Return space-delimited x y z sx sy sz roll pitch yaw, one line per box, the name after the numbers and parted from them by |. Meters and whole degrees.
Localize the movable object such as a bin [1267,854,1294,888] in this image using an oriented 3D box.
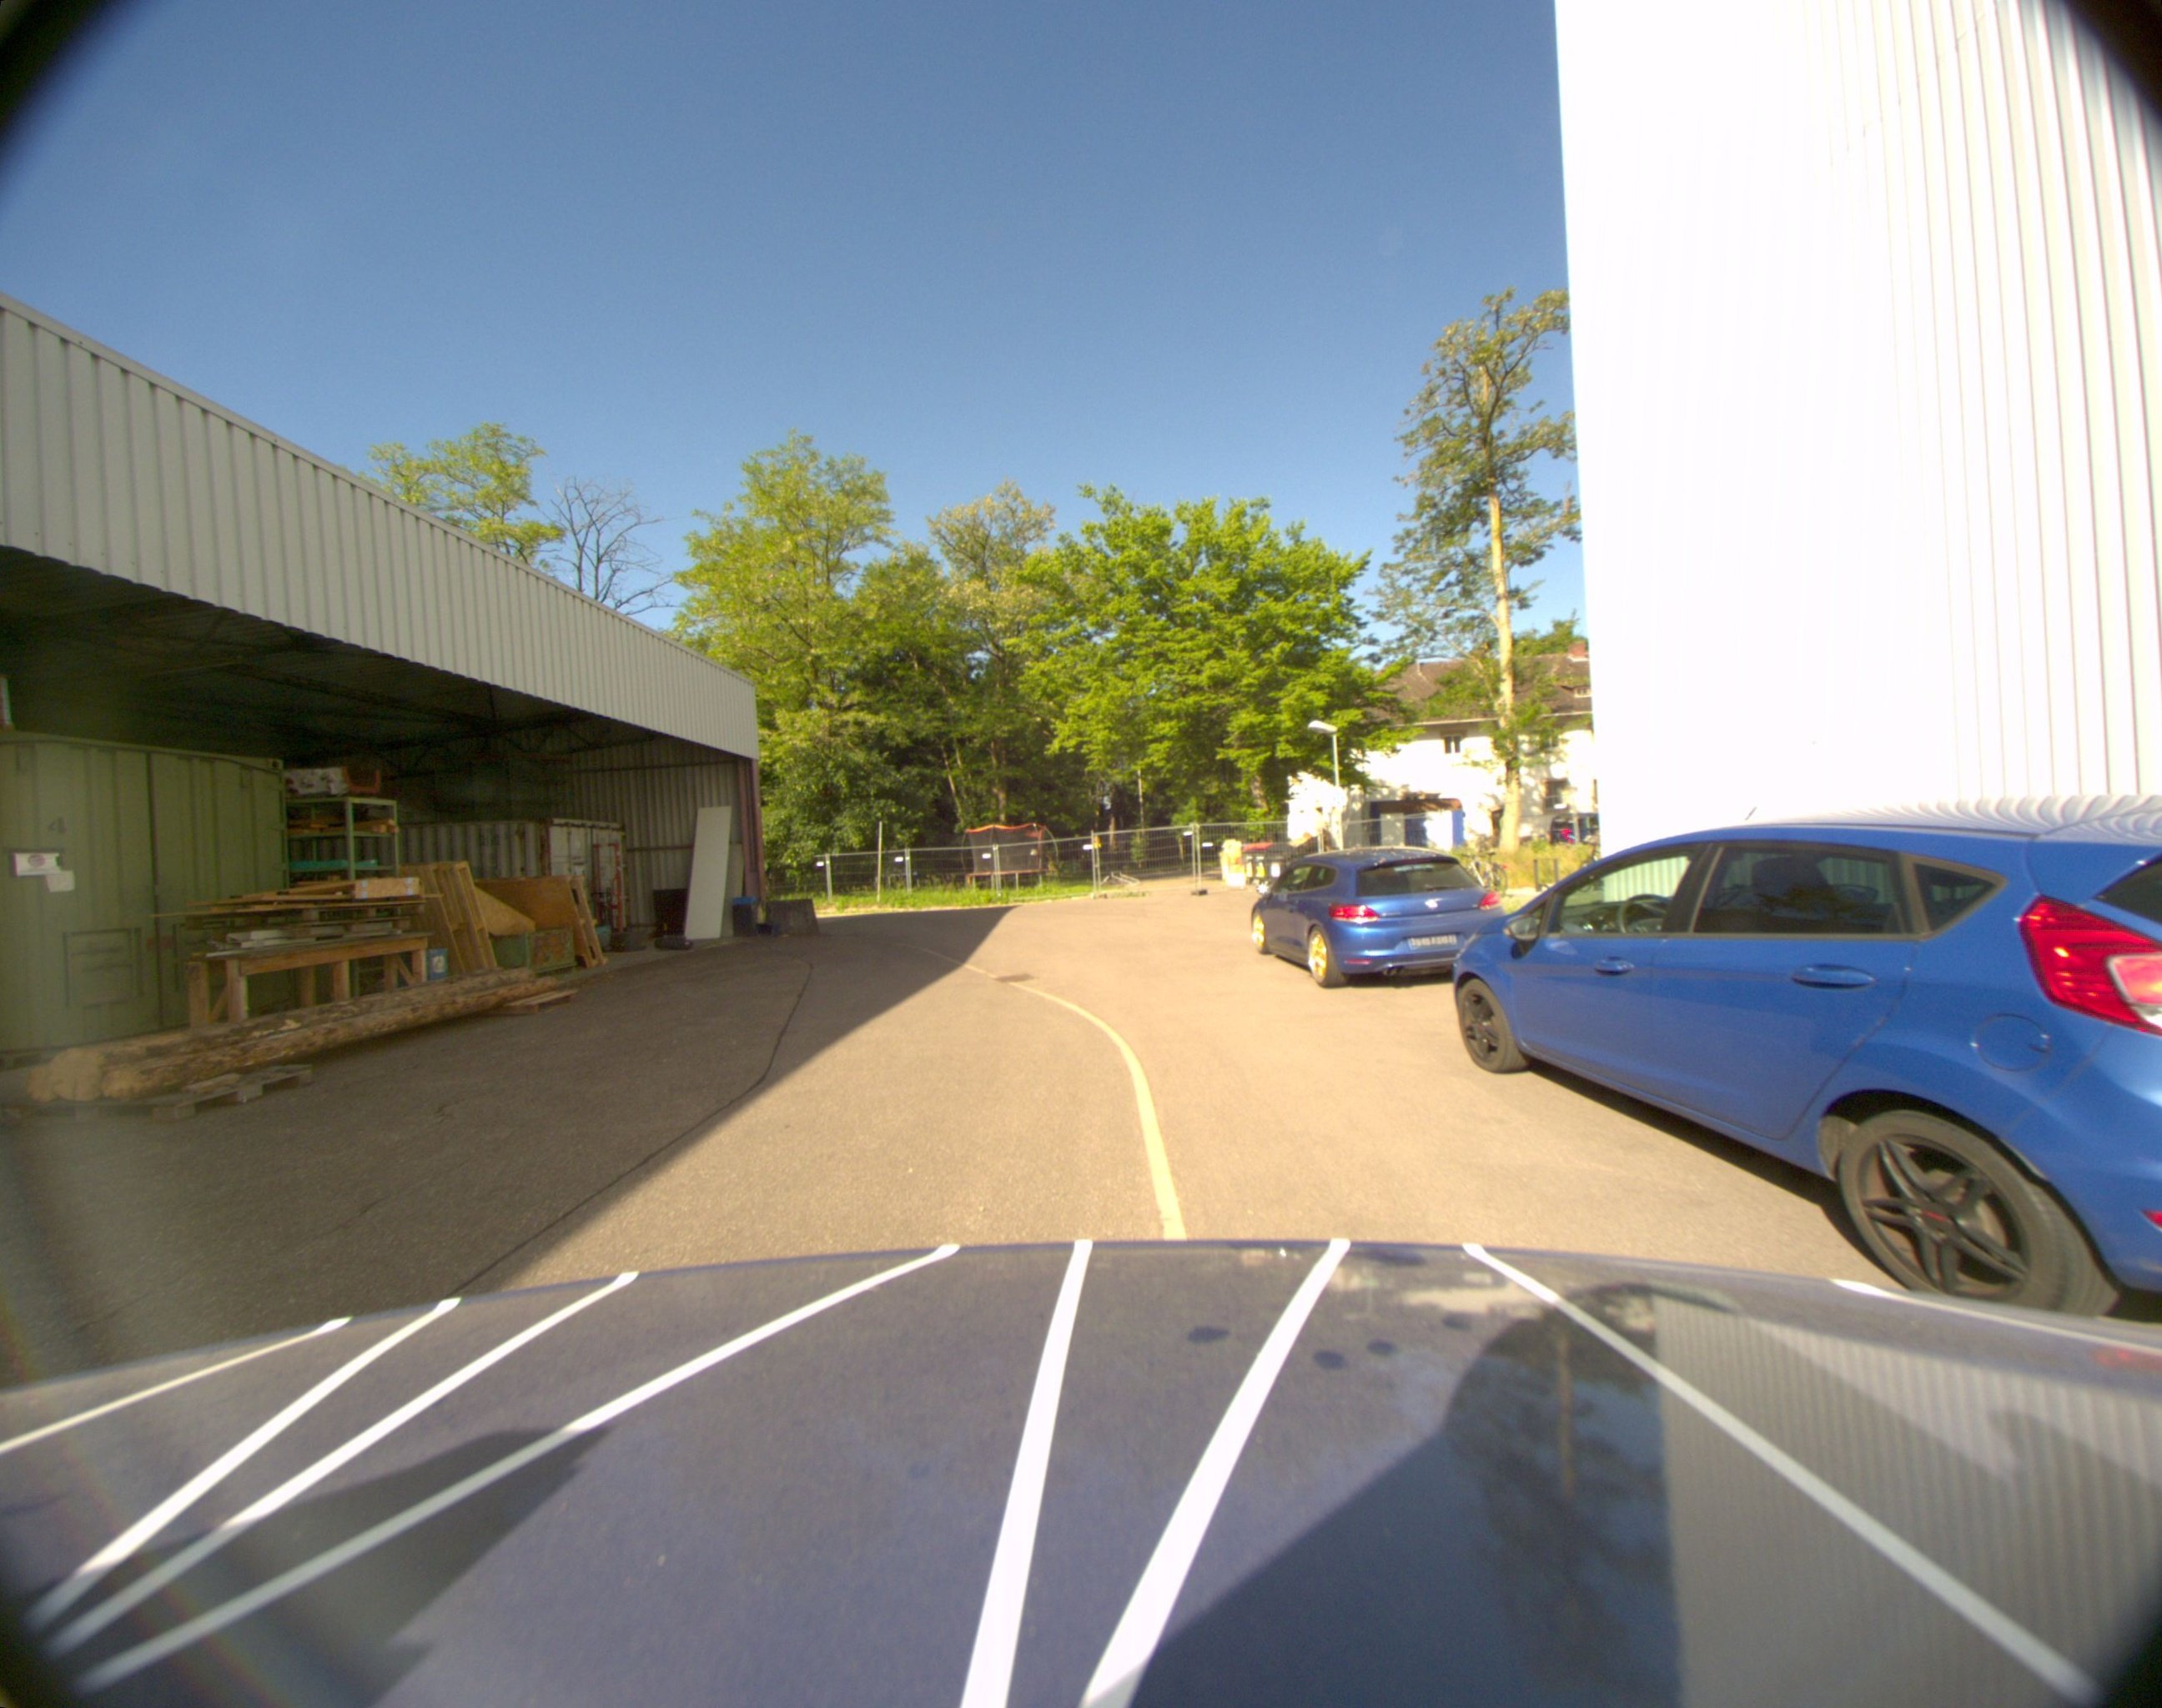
6.085 0.510 23.230 0.688 1.017 0.707 -2 0 7 | movable object such as a bin

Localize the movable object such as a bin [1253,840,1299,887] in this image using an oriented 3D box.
6.251 0.292 24.408 1.141 1.426 1.289 -2 0 1 | movable object such as a bin

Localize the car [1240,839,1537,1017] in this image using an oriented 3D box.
3.153 0.675 8.700 1.715 1.440 3.798 -5 0 -1 | car

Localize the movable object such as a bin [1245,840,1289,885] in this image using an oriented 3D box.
6.287 0.291 25.772 1.141 1.469 1.280 -2 -1 1 | movable object such as a bin

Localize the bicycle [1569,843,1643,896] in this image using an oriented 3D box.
11.294 0.312 16.398 0.393 1.079 1.707 -2 0 0 | bicycle

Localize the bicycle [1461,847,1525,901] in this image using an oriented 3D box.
8.685 0.403 16.086 0.393 1.079 1.707 -2 0 0 | bicycle

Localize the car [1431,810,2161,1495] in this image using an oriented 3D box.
3.131 0.653 3.188 1.552 1.479 3.522 -5 0 -1 | car
